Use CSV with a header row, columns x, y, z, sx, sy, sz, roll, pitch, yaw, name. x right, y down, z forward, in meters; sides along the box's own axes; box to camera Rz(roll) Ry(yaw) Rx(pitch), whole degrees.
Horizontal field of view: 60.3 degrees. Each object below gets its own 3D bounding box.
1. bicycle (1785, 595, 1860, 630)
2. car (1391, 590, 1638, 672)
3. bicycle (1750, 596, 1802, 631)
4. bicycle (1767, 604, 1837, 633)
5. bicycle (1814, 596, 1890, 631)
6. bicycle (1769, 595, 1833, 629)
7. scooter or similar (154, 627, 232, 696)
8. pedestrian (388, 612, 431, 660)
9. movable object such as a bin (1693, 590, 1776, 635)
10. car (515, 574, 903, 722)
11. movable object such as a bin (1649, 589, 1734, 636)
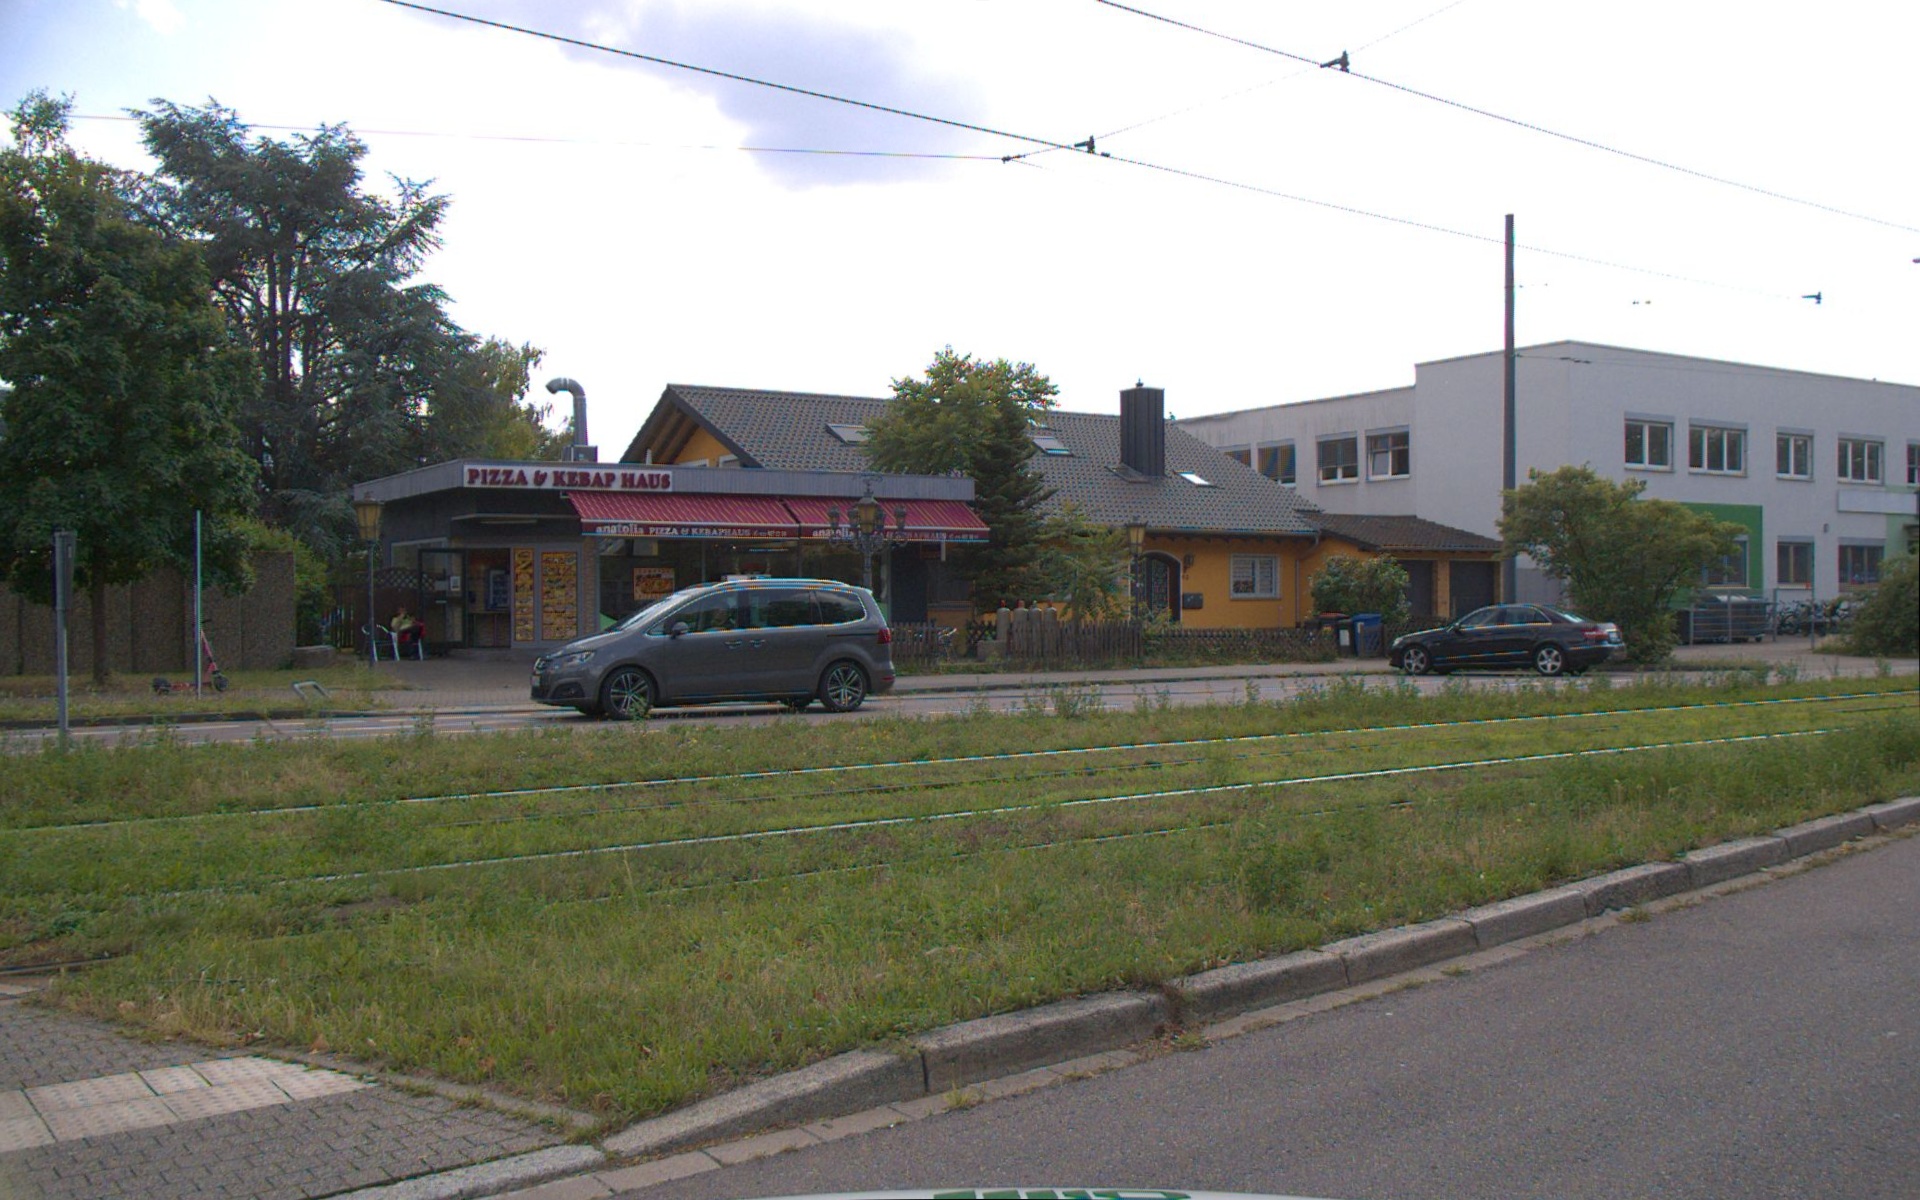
x,y,z,sx,sy,sz,roll,pitch,yaw,name
30.180,0.439,57.891,0.749,1.186,2.331,0,0,-27,bicycle
11.527,0.656,34.538,4.490,1.608,1.991,-2,-1,38,car
28.008,0.449,56.812,0.692,1.186,1.614,0,0,-16,bicycle
29.309,0.629,57.588,0.720,0.987,2.139,0,0,-28,bicycle
31.350,0.464,58.145,0.737,1.186,2.398,0,0,-25,bicycle
27.978,0.395,55.052,0.728,1.100,1.775,0,0,-35,bicycle
-12.477,0.997,26.919,1.083,1.078,0.400,1,1,-18,scooter or similar
-11.328,0.737,34.034,0.716,0.945,0.770,1,1,-28,pedestrian
23.802,0.378,50.807,2.102,1.350,1.363,0,0,-29,movable object such as a bin
-3.259,0.559,21.663,4.670,1.752,1.982,-1,0,-28,car
21.965,0.365,49.670,2.087,1.350,1.363,0,0,-29,movable object such as a bin
